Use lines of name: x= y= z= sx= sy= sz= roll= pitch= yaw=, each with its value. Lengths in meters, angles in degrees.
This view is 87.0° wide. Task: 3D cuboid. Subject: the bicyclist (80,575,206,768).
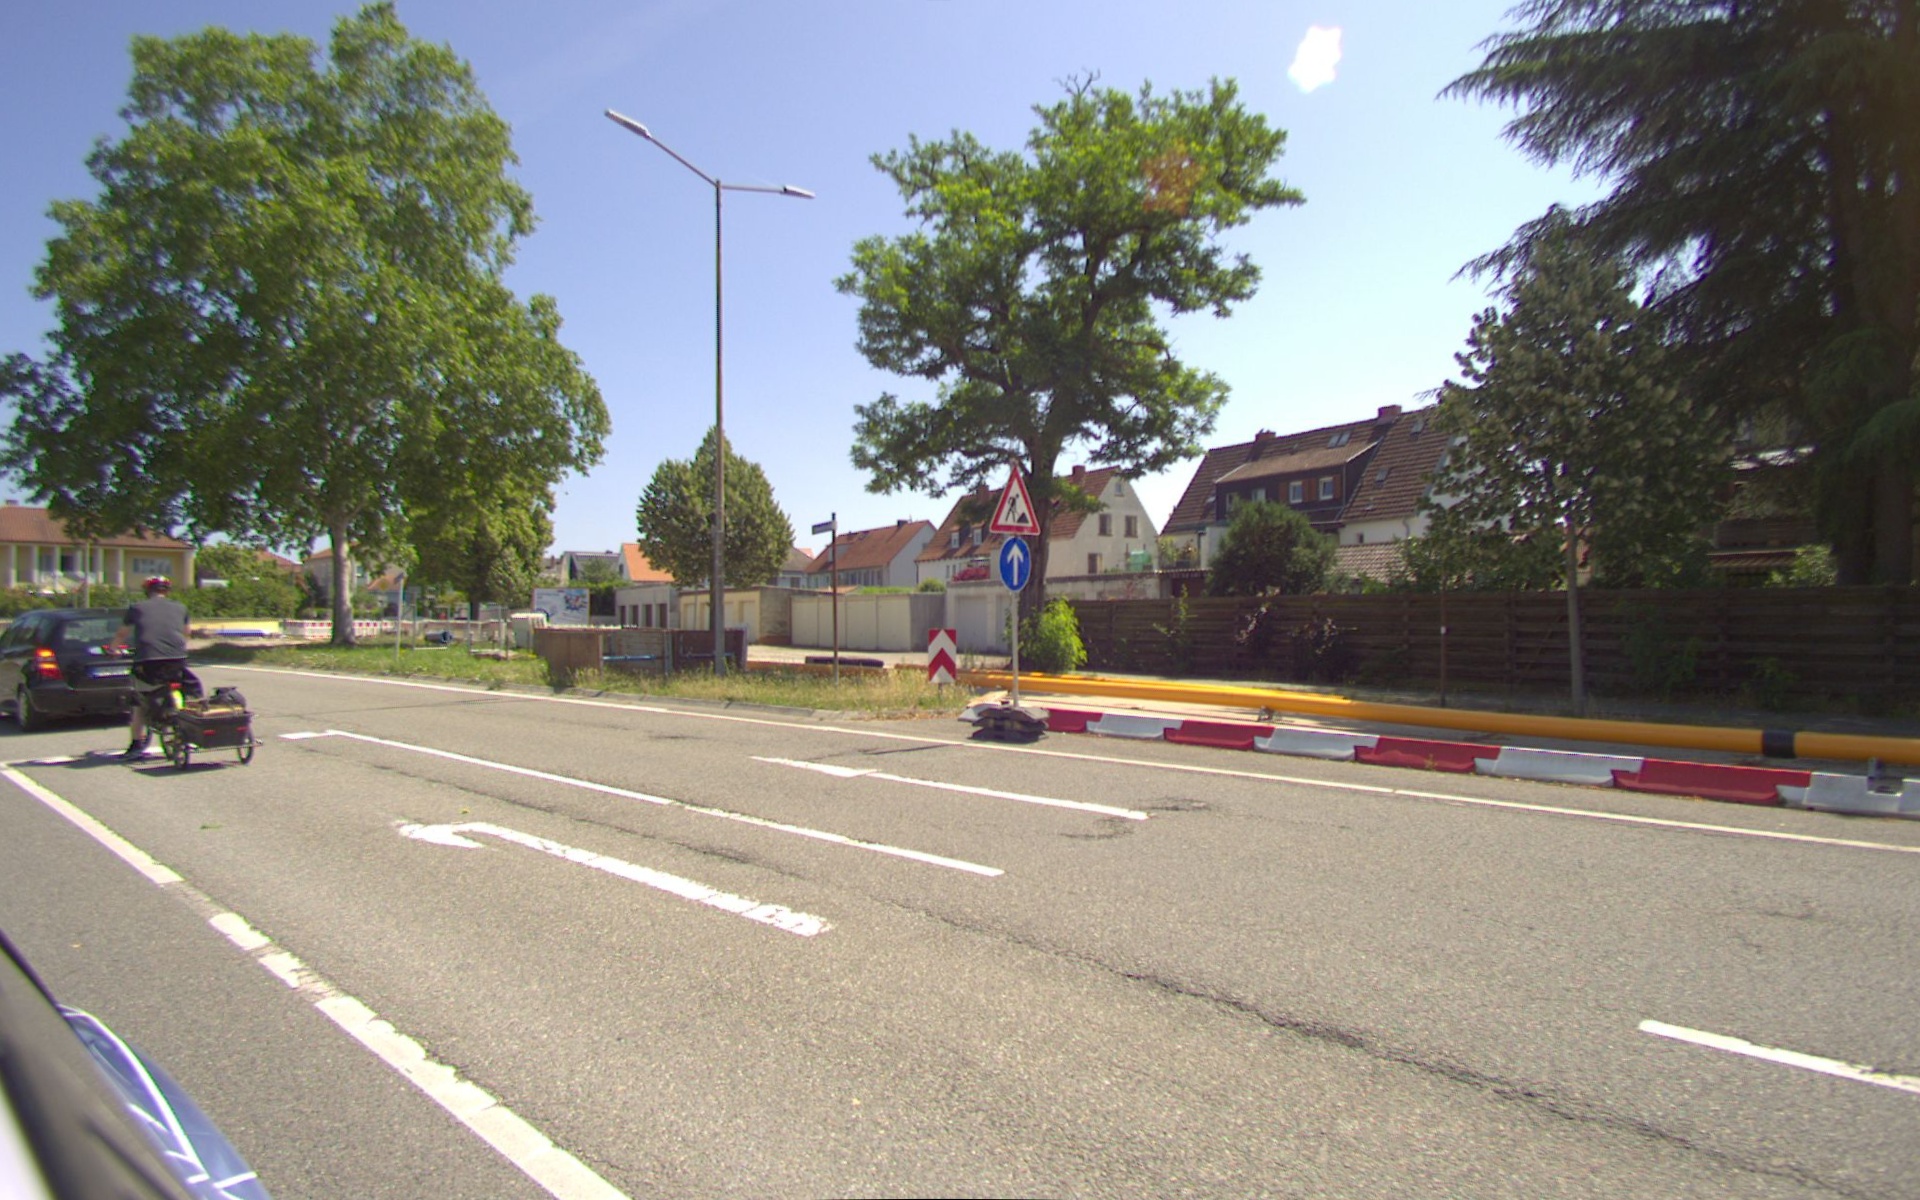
bicyclist: x=-8.502 y=0.703 z=10.534 sx=0.975 sy=1.879 sz=0.837 roll=-1 pitch=-1 yaw=39

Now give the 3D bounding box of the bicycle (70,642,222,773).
bicycle: x=-8.464 y=1.055 z=10.496 sx=1.975 sy=1.175 sz=0.842 roll=-1 pitch=-1 yaw=39

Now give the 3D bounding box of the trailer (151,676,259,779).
trailer: x=-7.176 y=1.180 z=9.609 sx=1.131 sy=0.862 sz=0.564 roll=-1 pitch=-2 yaw=40

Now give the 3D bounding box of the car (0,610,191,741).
car: x=-12.453 y=0.953 z=14.135 sx=3.823 sy=1.544 sz=1.710 roll=-1 pitch=0 yaw=36

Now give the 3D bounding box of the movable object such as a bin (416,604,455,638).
movable object such as a bin: x=-42.694 y=1.715 z=82.318 sx=2.241 sy=2.756 sz=3.939 roll=1 pitch=-2 yaw=-36
